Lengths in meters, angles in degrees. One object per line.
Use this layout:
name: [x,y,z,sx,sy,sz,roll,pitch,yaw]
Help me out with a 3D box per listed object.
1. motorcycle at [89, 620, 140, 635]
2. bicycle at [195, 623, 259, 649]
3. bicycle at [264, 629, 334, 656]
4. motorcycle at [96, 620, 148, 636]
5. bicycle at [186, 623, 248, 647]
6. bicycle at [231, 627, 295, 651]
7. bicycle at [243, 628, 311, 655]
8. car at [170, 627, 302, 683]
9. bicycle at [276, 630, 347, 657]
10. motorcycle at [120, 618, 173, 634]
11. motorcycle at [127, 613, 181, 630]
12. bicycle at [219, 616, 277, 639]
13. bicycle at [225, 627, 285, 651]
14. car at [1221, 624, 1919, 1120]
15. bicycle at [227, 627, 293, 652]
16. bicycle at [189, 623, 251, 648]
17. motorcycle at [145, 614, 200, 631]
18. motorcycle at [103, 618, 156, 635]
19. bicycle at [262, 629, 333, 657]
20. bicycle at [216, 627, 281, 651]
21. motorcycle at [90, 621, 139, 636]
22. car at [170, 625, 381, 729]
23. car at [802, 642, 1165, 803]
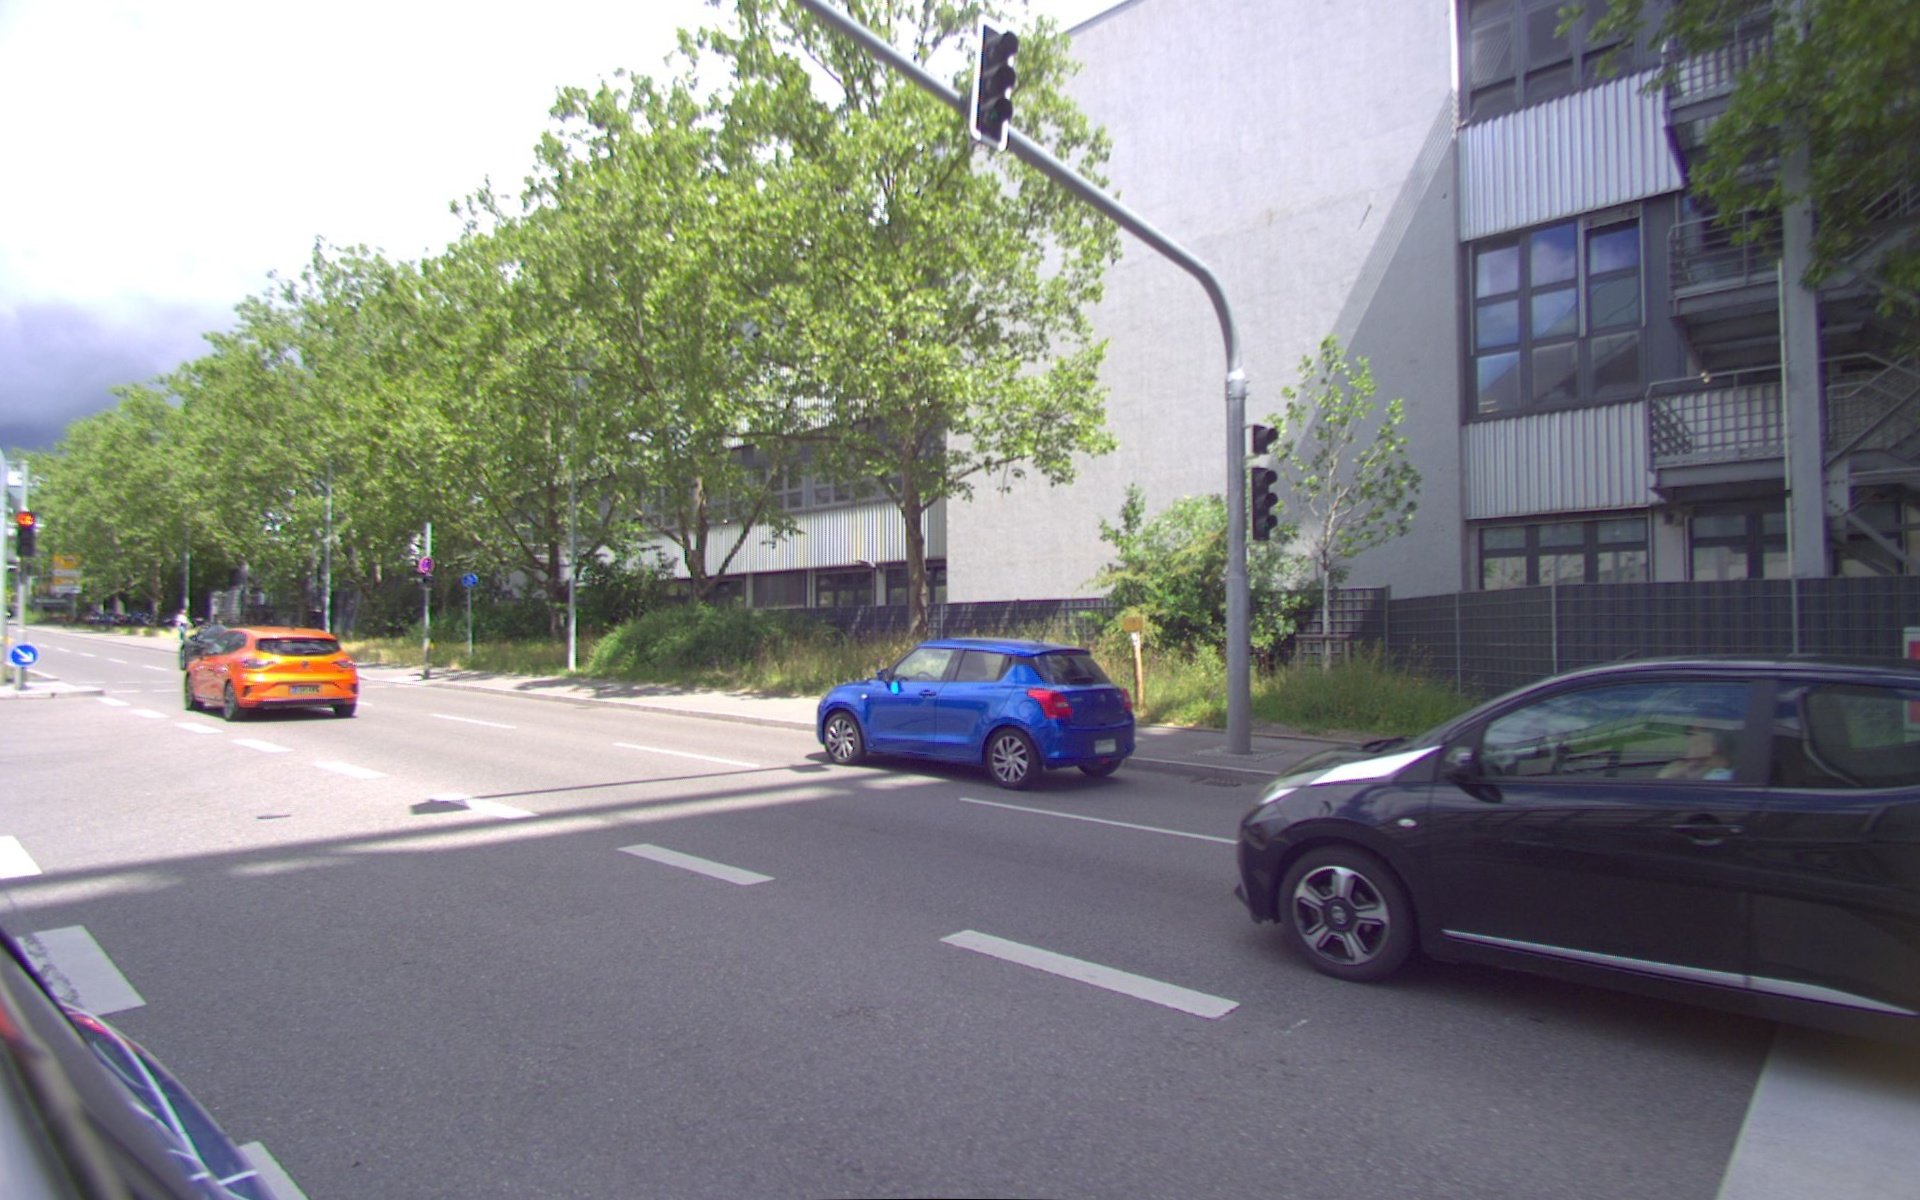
motorcycle: [-61.170,1.982,73.208,0.600,1.044,2.792,-5,-3,44]
bicycle: [-37.098,1.808,51.261,0.615,1.187,2.529,-1,0,41]
bicycle: [-29.408,1.875,45.051,2.524,1.093,0.616,0,0,-42]
motorcycle: [-59.646,1.994,72.053,0.600,1.044,2.792,-5,-3,44]
bicycle: [-38.473,1.800,52.442,0.615,1.187,2.529,-1,0,41]
bicycle: [-33.627,1.874,48.818,2.522,1.093,0.617,0,0,-36]
bicycle: [-31.175,1.873,46.213,0.614,1.093,2.536,-1,0,32]
car: [-21.181,1.564,29.533,4.765,1.465,1.973,0,-3,40]
bicycle: [-27.870,1.854,43.527,2.525,1.093,0.616,0,0,-43]
motorcycle: [-56.212,1.795,69.943,2.790,1.044,0.601,-1,-3,-43]
motorcycle: [-54.603,1.449,68.563,0.600,1.044,2.792,-5,-3,44]
bicycle: [-35.844,1.363,50.976,2.376,1.093,0.617,0,0,-39]
bicycle: [-34.971,1.941,50.246,0.615,1.093,2.382,-1,0,40]
car: [3.077,0.888,4.097,3.612,1.516,1.541,-1,-3,42]
bicycle: [-33.156,1.855,47.961,0.628,1.093,2.527,-1,0,44]
bicycle: [-37.883,1.796,51.834,0.615,1.187,2.529,-1,0,41]
motorcycle: [-51.829,1.452,66.597,0.600,1.044,2.792,-5,-3,44]
motorcycle: [-57.552,1.829,70.123,0.600,1.044,2.792,-5,-3,44]
bicycle: [-28.908,1.870,44.190,2.525,1.093,0.616,0,0,-43]
bicycle: [-34.639,1.881,49.308,2.525,1.093,0.616,0,0,-43]
motorcycle: [-63.225,2.107,75.697,0.600,1.044,2.792,-5,-3,44]
car: [-11.332,1.189,16.683,3.900,1.465,1.865,0,-3,40]
car: [0.155,1.195,11.166,3.819,1.440,1.675,-1,-3,40]
